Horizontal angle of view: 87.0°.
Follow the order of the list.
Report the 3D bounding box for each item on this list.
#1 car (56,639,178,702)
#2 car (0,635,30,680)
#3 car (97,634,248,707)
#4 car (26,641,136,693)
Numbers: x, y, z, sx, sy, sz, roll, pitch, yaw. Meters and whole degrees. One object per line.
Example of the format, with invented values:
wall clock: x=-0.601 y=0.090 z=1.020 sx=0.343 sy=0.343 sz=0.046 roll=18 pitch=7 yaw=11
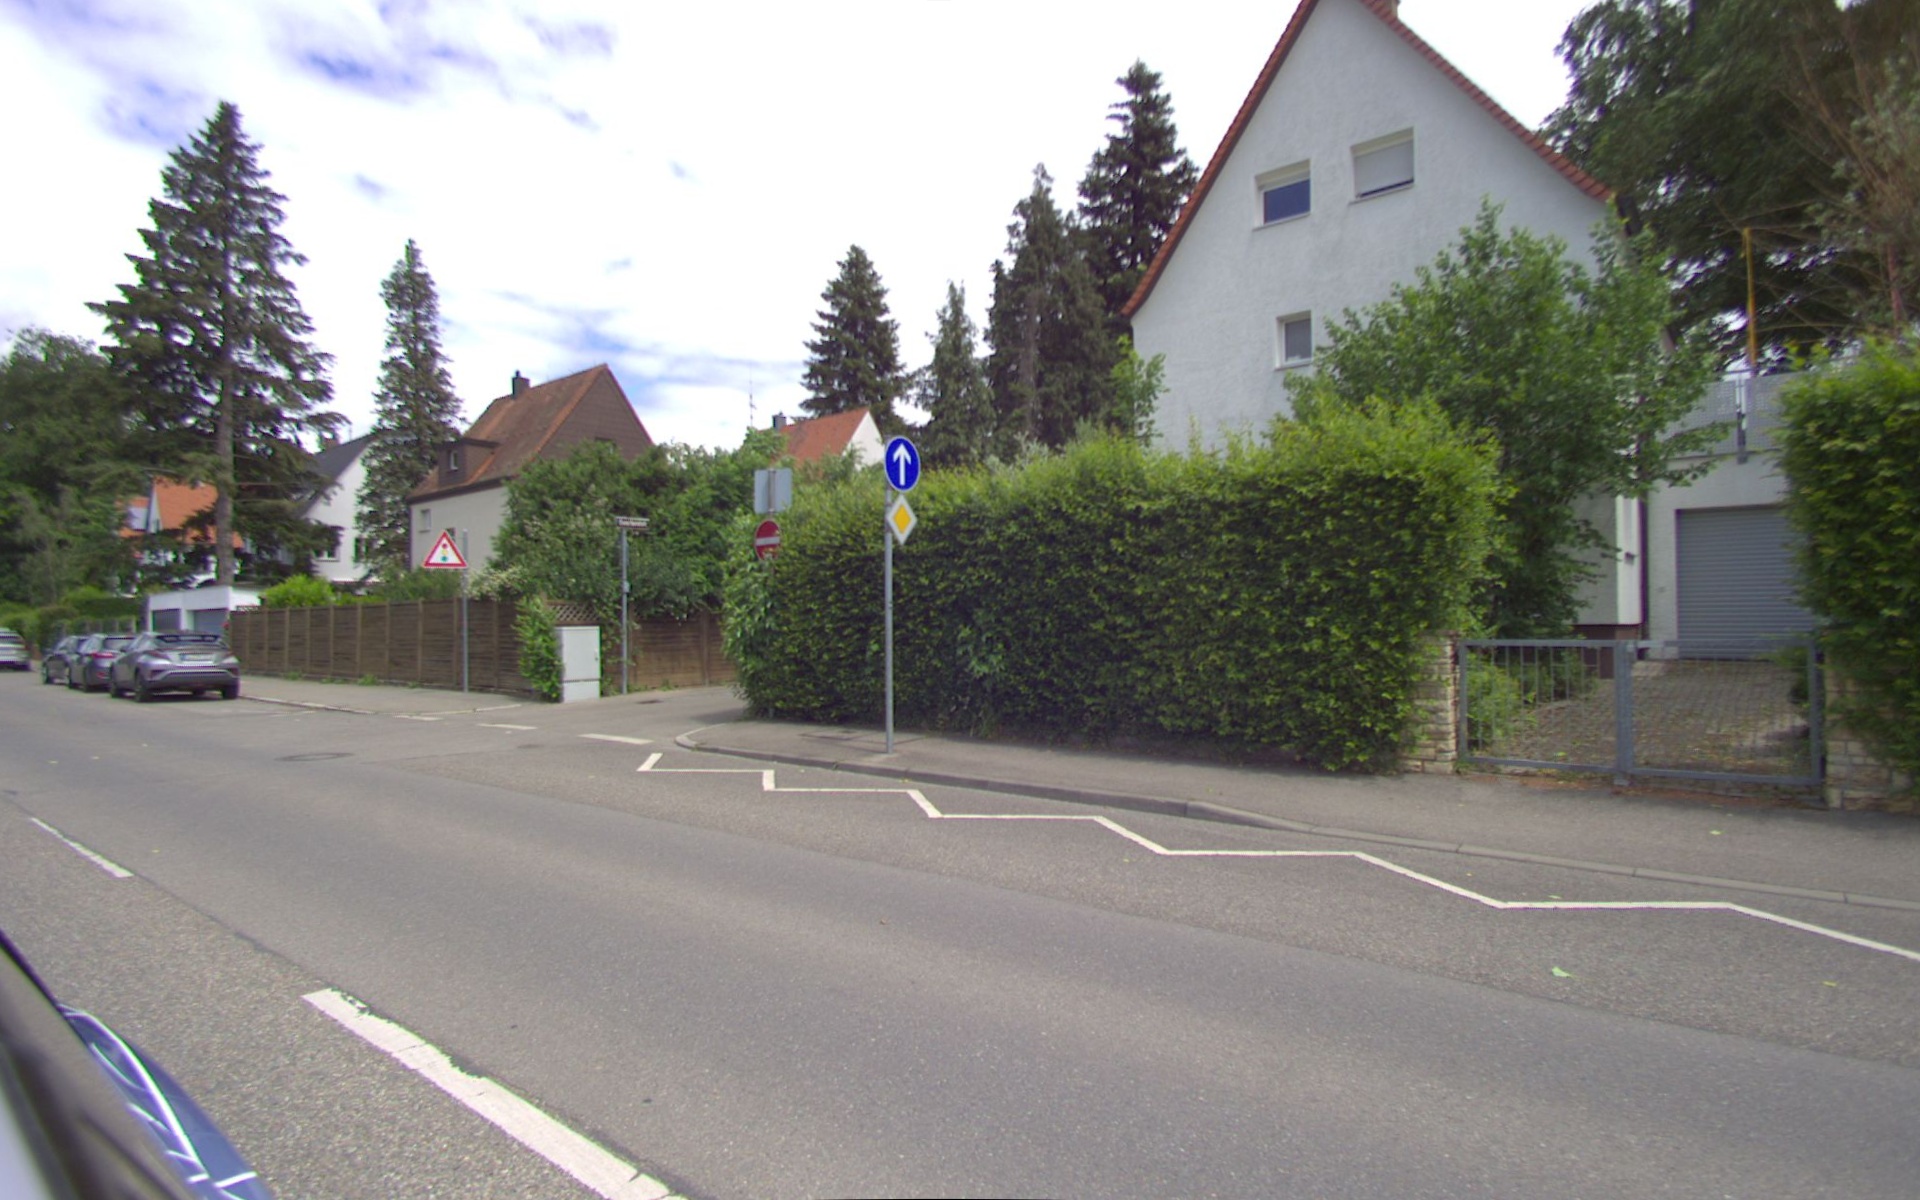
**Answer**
car: x=-22.084 y=1.775 z=26.463 sx=4.488 sy=1.470 sz=1.847 roll=-2 pitch=-2 yaw=42
car: x=-41.277 y=2.448 z=43.116 sx=4.705 sy=1.833 sz=1.964 roll=-3 pitch=-2 yaw=42
car: x=-17.881 y=1.528 z=22.900 sx=4.647 sy=1.491 sz=1.971 roll=-2 pitch=-3 yaw=43
car: x=-25.793 y=1.940 z=29.680 sx=3.899 sy=1.438 sz=1.636 roll=-3 pitch=-3 yaw=37
